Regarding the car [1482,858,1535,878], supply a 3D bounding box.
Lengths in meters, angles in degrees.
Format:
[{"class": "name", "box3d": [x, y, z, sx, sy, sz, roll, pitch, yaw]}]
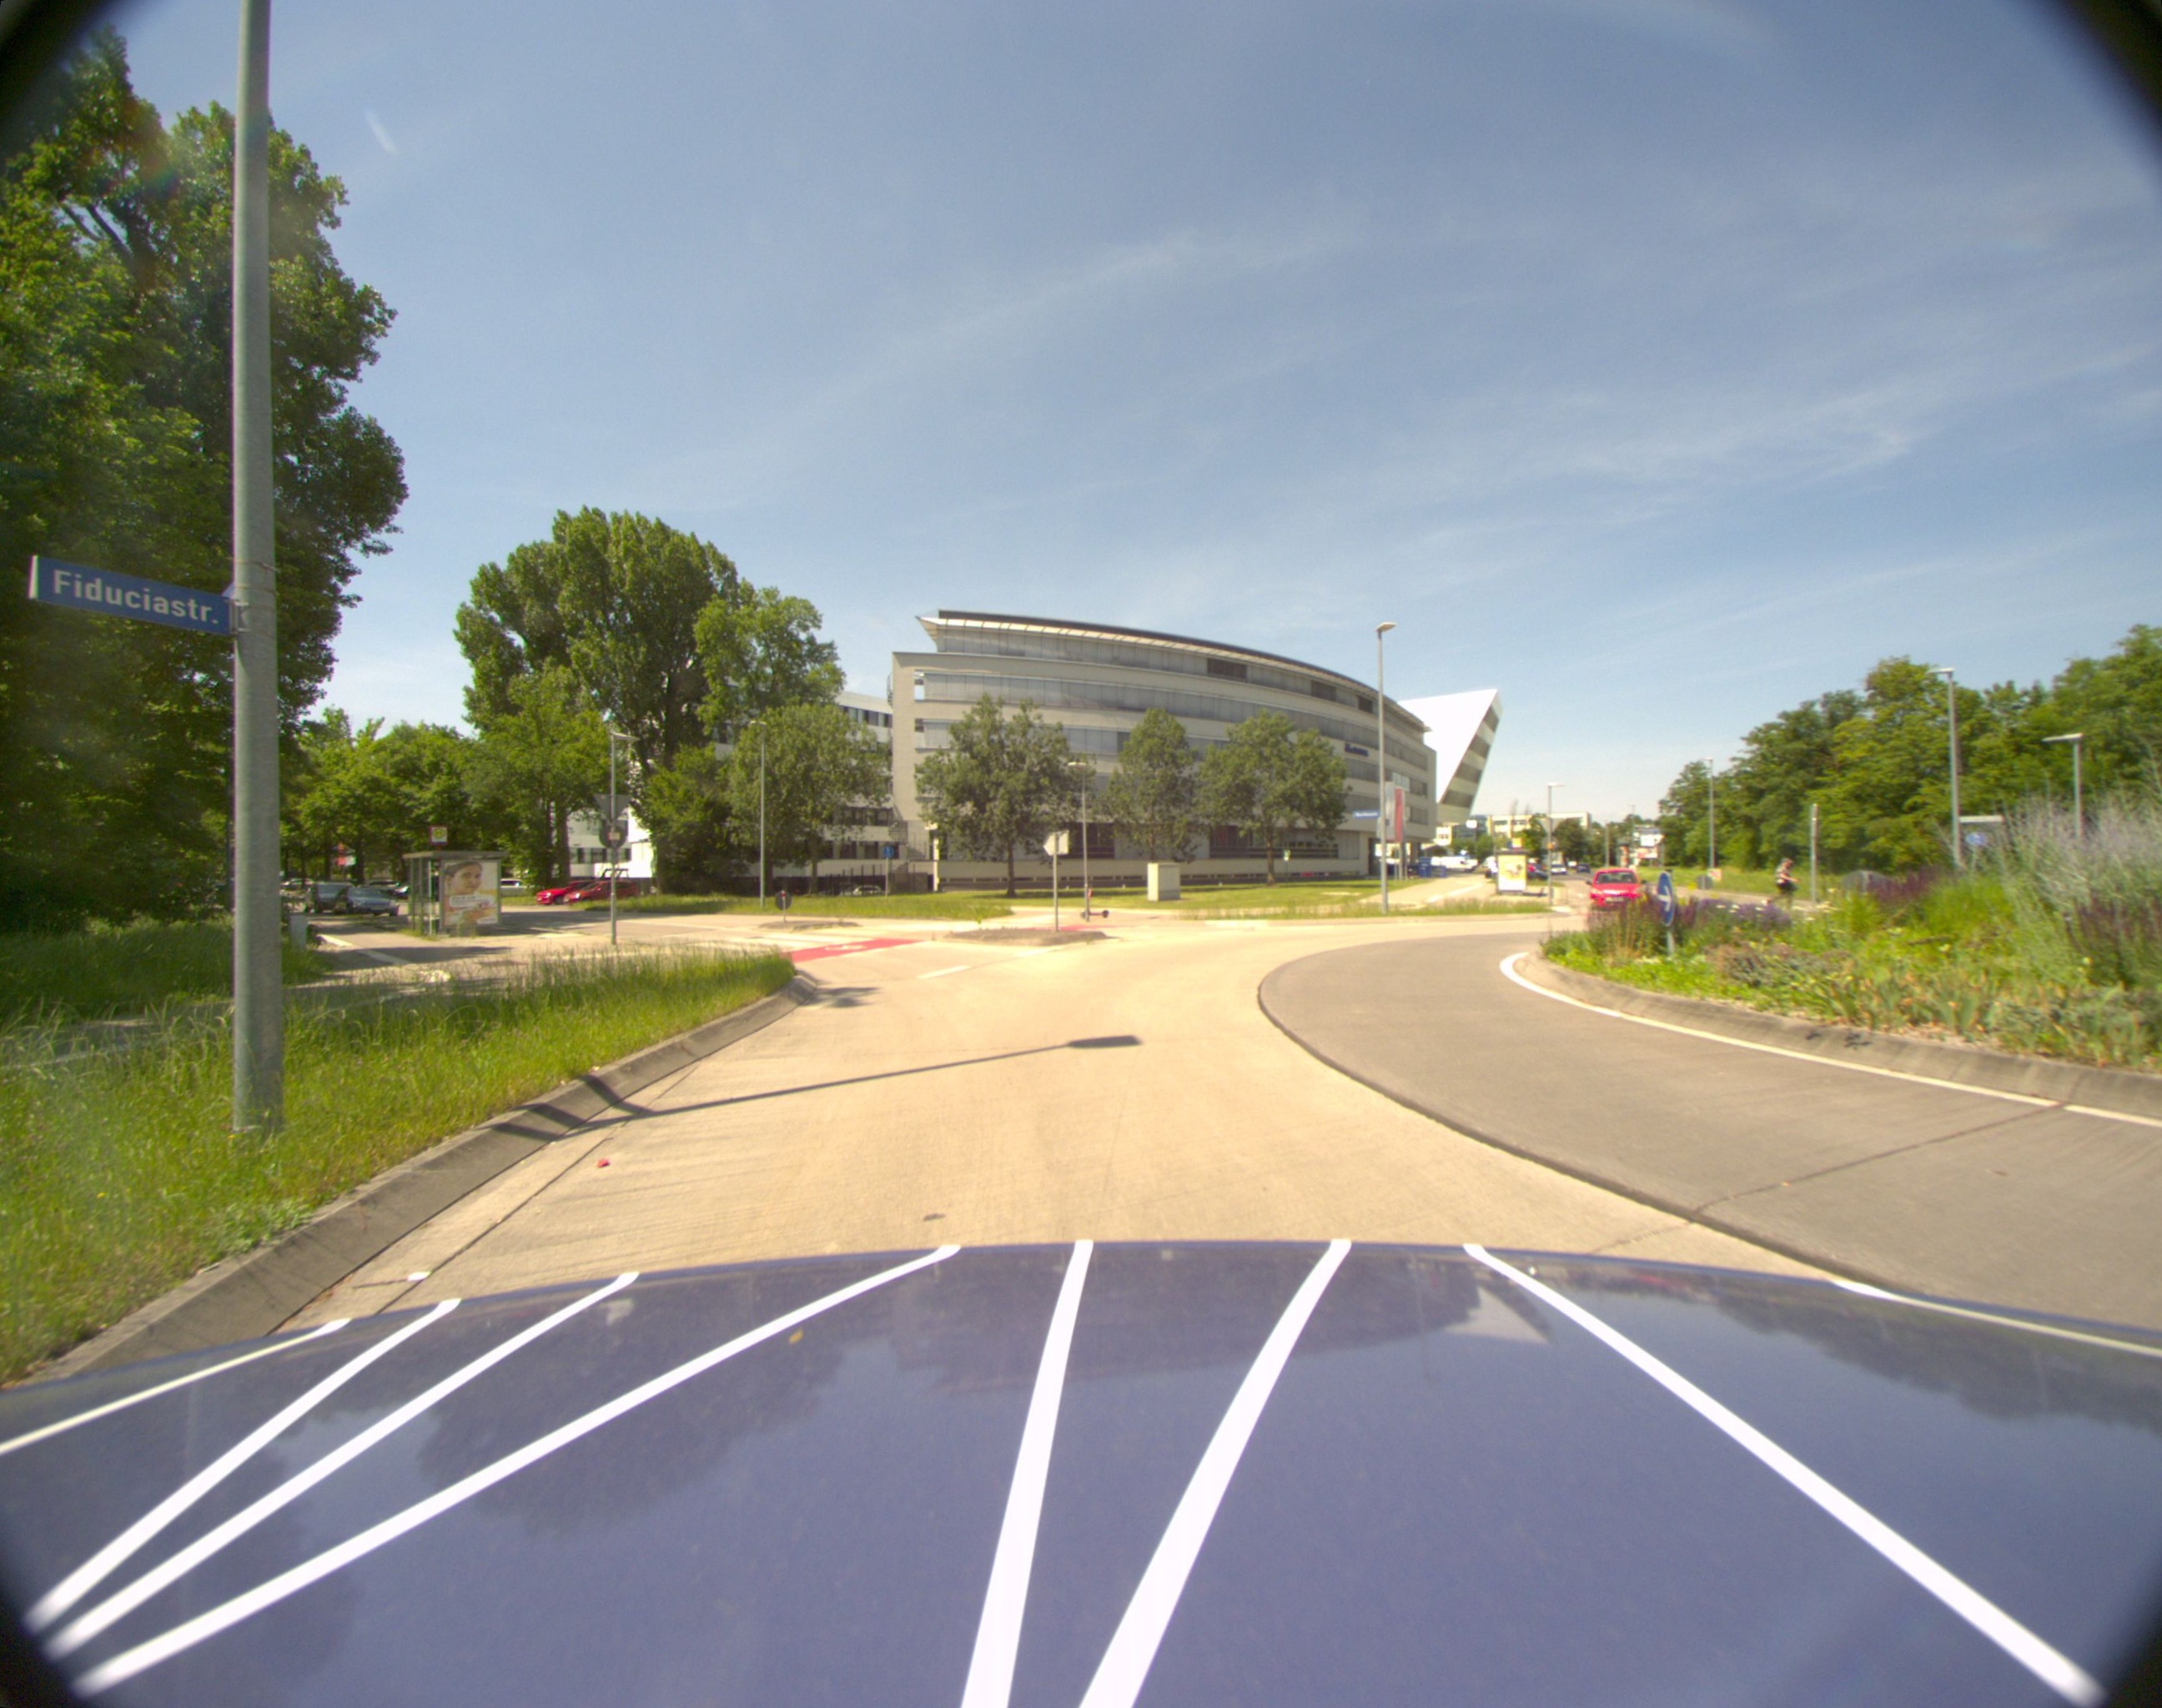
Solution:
[{"class": "car", "box3d": [37.877, 1.237, 67.279, 3.989, 1.645, 1.843, -1, 0, 33]}]

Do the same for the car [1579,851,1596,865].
[{"class": "car", "box3d": [78.693, 0.584, 118.047, 1.995, 2.001, 4.008, -2, -1, 31]}]

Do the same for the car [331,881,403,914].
[{"class": "car", "box3d": [-33.874, 2.046, 36.024, 3.989, 1.476, 1.707, -2, -4, 36]}]

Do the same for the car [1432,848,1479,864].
[{"class": "car", "box3d": [65.586, 0.336, 133.207, 6.952, 2.646, 2.259, -3, -1, 39]}]

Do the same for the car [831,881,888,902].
[{"class": "car", "box3d": [-18.829, 3.155, 64.742, 1.849, 1.559, 4.366, -2, -1, 36]}]

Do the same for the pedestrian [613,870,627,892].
[{"class": "pedestrian", "box3d": [-33.560, 1.977, 55.285, 0.643, 1.598, 0.573, -2, 0, 22]}]

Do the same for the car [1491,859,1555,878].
[{"class": "car", "box3d": [37.176, 1.185, 64.001, 4.569, 1.424, 1.831, 1, 1, 30]}]

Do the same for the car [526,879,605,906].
[{"class": "car", "box3d": [-32.744, 2.431, 48.376, 1.864, 1.474, 3.692, -2, -1, 32]}]

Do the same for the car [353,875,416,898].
[{"class": "car", "box3d": [-64.683, 3.006, 70.598, 1.680, 1.861, 4.008, -2, -1, 34]}]

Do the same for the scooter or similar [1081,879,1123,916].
[{"class": "scooter or similar", "box3d": [0.724, 1.497, 26.171, 1.401, 1.194, 0.447, -2, 0, -31]}]

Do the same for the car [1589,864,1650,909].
[{"class": "car", "box3d": [19.884, 1.175, 28.166, 1.659, 1.494, 3.363, -2, -1, 33]}]

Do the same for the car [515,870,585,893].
[{"class": "car", "box3d": [-39.367, 2.005, 56.385, 1.808, 1.508, 3.794, -2, -1, 35]}]

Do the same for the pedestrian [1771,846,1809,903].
[{"class": "pedestrian", "box3d": [23.069, 0.645, 24.722, 0.708, 1.812, 0.828, 1, 2, 31]}]

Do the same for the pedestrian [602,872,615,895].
[{"class": "pedestrian", "box3d": [-34.048, 2.123, 54.799, 0.485, 1.607, 0.589, -2, 0, 24]}]

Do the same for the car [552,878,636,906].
[{"class": "car", "box3d": [-28.887, 2.255, 45.173, 1.864, 1.474, 3.692, -2, -1, 32]}]

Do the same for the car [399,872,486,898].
[{"class": "car", "box3d": [-54.075, 2.631, 64.437, 1.755, 1.973, 5.326, -2, -1, 36]}]
